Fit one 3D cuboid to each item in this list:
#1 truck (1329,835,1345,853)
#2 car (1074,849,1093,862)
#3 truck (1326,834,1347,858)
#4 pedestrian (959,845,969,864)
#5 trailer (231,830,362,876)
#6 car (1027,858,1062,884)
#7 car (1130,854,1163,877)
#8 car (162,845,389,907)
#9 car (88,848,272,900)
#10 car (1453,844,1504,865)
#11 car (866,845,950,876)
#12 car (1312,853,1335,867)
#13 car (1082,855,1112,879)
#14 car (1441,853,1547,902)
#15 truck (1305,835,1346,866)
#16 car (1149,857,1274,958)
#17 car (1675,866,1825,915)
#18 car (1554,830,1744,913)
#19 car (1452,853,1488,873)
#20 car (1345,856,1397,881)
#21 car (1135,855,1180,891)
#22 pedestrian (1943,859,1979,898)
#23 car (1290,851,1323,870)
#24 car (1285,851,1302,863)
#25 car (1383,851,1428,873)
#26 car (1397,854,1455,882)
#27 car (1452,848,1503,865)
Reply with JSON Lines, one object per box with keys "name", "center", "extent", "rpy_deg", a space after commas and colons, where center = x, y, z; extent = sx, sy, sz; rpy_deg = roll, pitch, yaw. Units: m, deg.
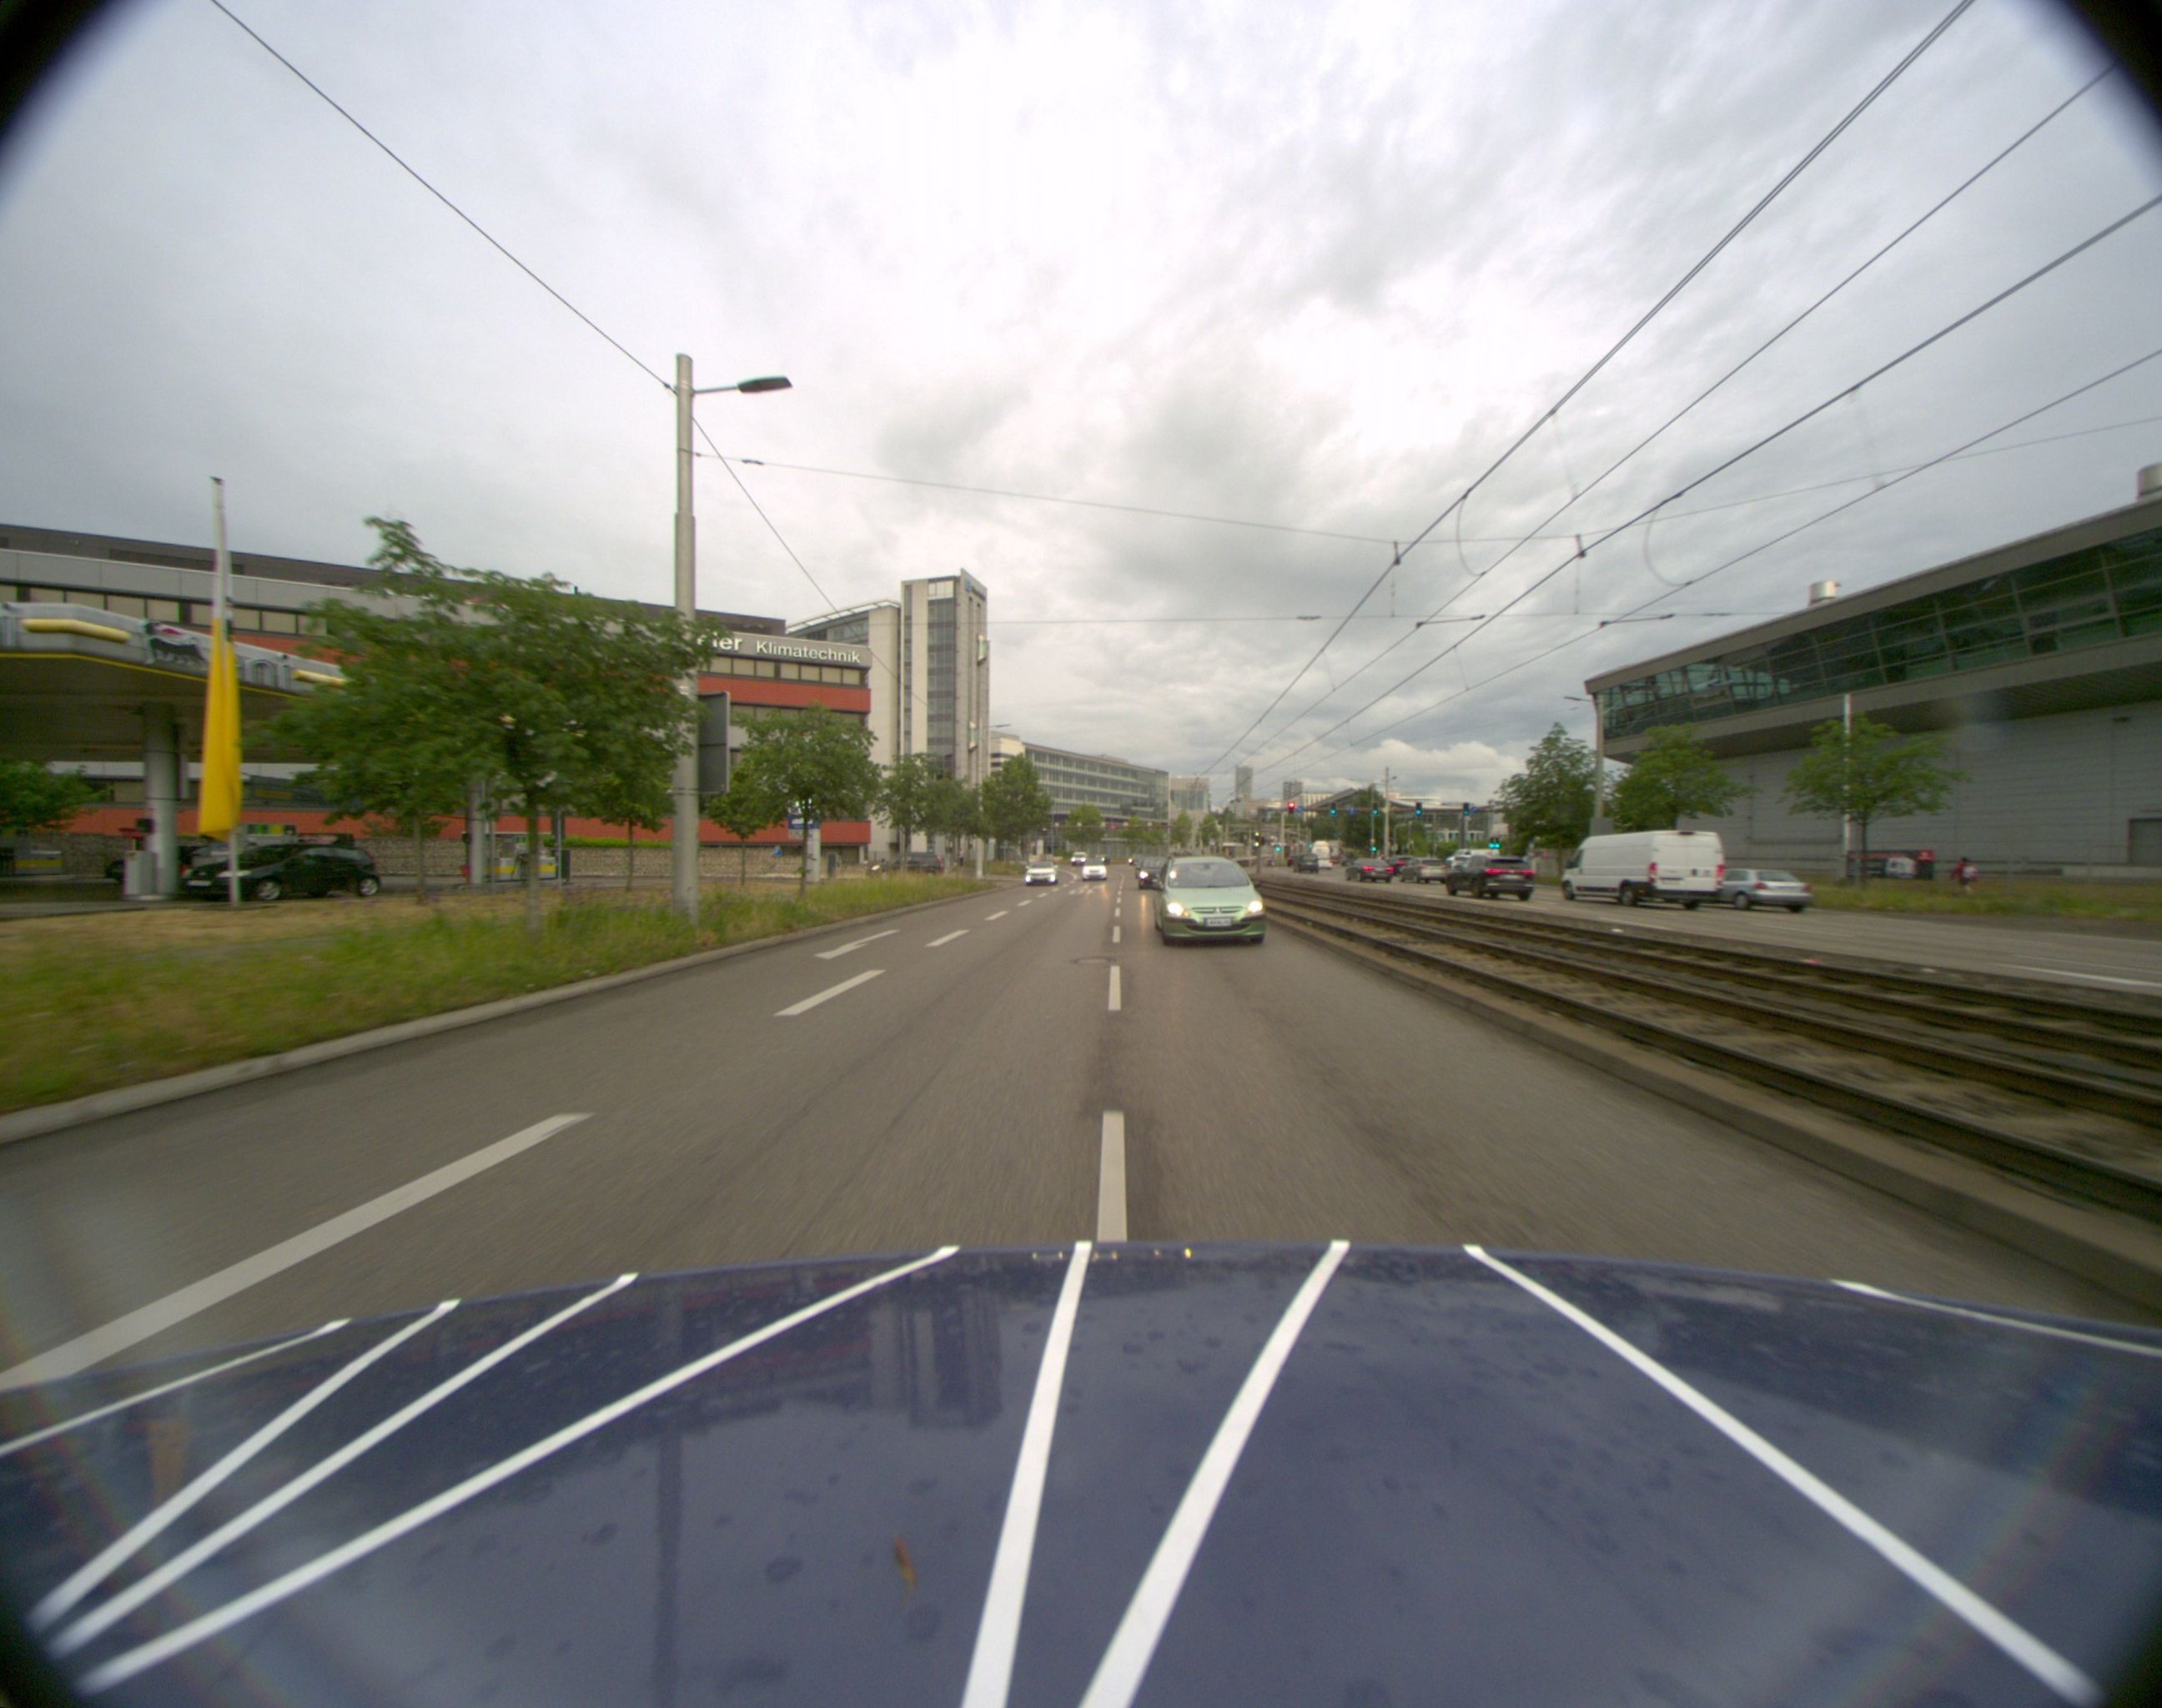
{"name": "truck", "center": [62.954, -2.398, 186.801], "extent": [3.381, 4.115, 7.641], "rpy_deg": [0, 0, 20]}
{"name": "car", "center": [0.359, 0.221, 97.095], "extent": [1.889, 1.584, 3.983], "rpy_deg": [1, 0, 7]}
{"name": "truck", "center": [48.825, -1.502, 144.906], "extent": [3.261, 4.503, 7.104], "rpy_deg": [1, 0, 23]}
{"name": "pedestrian", "center": [-11.613, 0.037, 75.363], "extent": [0.683, 1.889, 0.677], "rpy_deg": [-3, 1, -23]}
{"name": "trailer", "center": [-37.726, -0.045, 36.679], "extent": [4.005, 2.134, 1.835], "rpy_deg": [0, 0, -24]}
{"name": "car", "center": [-2.230, 1.035, 47.586], "extent": [1.878, 1.485, 3.837], "rpy_deg": [-1, 0, 2]}
{"name": "car", "center": [4.691, 0.805, 54.791], "extent": [1.762, 1.535, 3.713], "rpy_deg": [-3, 0, -3]}
{"name": "car", "center": [-20.555, 0.503, 19.647], "extent": [1.783, 1.410, 3.782], "rpy_deg": [1, 0, 2]}
{"name": "car", "center": [-32.948, 0.678, 27.985], "extent": [1.902, 1.640, 4.000], "rpy_deg": [4, 1, 1]}
{"name": "car", "center": [46.300, 0.058, 88.514], "extent": [5.064, 2.318, 1.998], "rpy_deg": [0, 0, -9]}
{"name": "car", "center": [-10.140, 0.363, 44.566], "extent": [4.366, 1.637, 1.790], "rpy_deg": [-3, 1, -32]}
{"name": "car", "center": [26.113, 0.627, 81.879], "extent": [1.798, 1.437, 3.926], "rpy_deg": [0, 0, 9]}
{"name": "car", "center": [1.142, 0.867, 52.459], "extent": [1.818, 1.584, 3.837], "rpy_deg": [-2, 0, 3]}
{"name": "car", "center": [15.348, 0.816, 28.550], "extent": [1.912, 1.647, 4.362], "rpy_deg": [2, 0, 6]}
{"name": "truck", "center": [31.406, -0.422, 98.060], "extent": [4.085, 3.734, 10.865], "rpy_deg": [0, 0, 13]}
{"name": "car", "center": [2.264, 0.863, 14.171], "extent": [1.762, 1.489, 4.138], "rpy_deg": [-2, 0, 3]}
{"name": "car", "center": [22.571, 1.183, 25.862], "extent": [1.751, 1.392, 4.001], "rpy_deg": [2, 0, 5]}
{"name": "car", "center": [19.311, 0.530, 26.413], "extent": [2.437, 2.486, 6.552], "rpy_deg": [1, 0, 9]}
{"name": "car", "center": [36.517, 0.792, 71.283], "extent": [3.879, 1.815, 1.810], "rpy_deg": [1, 0, -43]}
{"name": "car", "center": [18.124, 0.855, 47.700], "extent": [1.951, 1.475, 4.998], "rpy_deg": [0, 0, 8]}
{"name": "car", "center": [3.575, 0.843, 36.108], "extent": [1.762, 1.535, 3.714], "rpy_deg": [-2, 0, 1]}
{"name": "pedestrian", "center": [34.920, 0.972, 30.153], "extent": [0.549, 1.489, 0.758], "rpy_deg": [-2, 1, 6]}
{"name": "car", "center": [20.899, 0.583, 70.577], "extent": [1.998, 1.721, 4.679], "rpy_deg": [1, 0, 4]}
{"name": "car", "center": [28.091, 0.436, 100.440], "extent": [1.819, 1.565, 4.003], "rpy_deg": [0, 0, 10]}
{"name": "car", "center": [26.432, 0.615, 61.993], "extent": [1.998, 1.673, 4.475], "rpy_deg": [0, 0, 4]}
{"name": "car", "center": [21.572, 0.828, 47.672], "extent": [1.944, 1.661, 4.510], "rpy_deg": [1, 0, 6]}
{"name": "car", "center": [43.849, 0.241, 84.115], "extent": [4.661, 1.824, 1.999], "rpy_deg": [0, 0, -3]}
